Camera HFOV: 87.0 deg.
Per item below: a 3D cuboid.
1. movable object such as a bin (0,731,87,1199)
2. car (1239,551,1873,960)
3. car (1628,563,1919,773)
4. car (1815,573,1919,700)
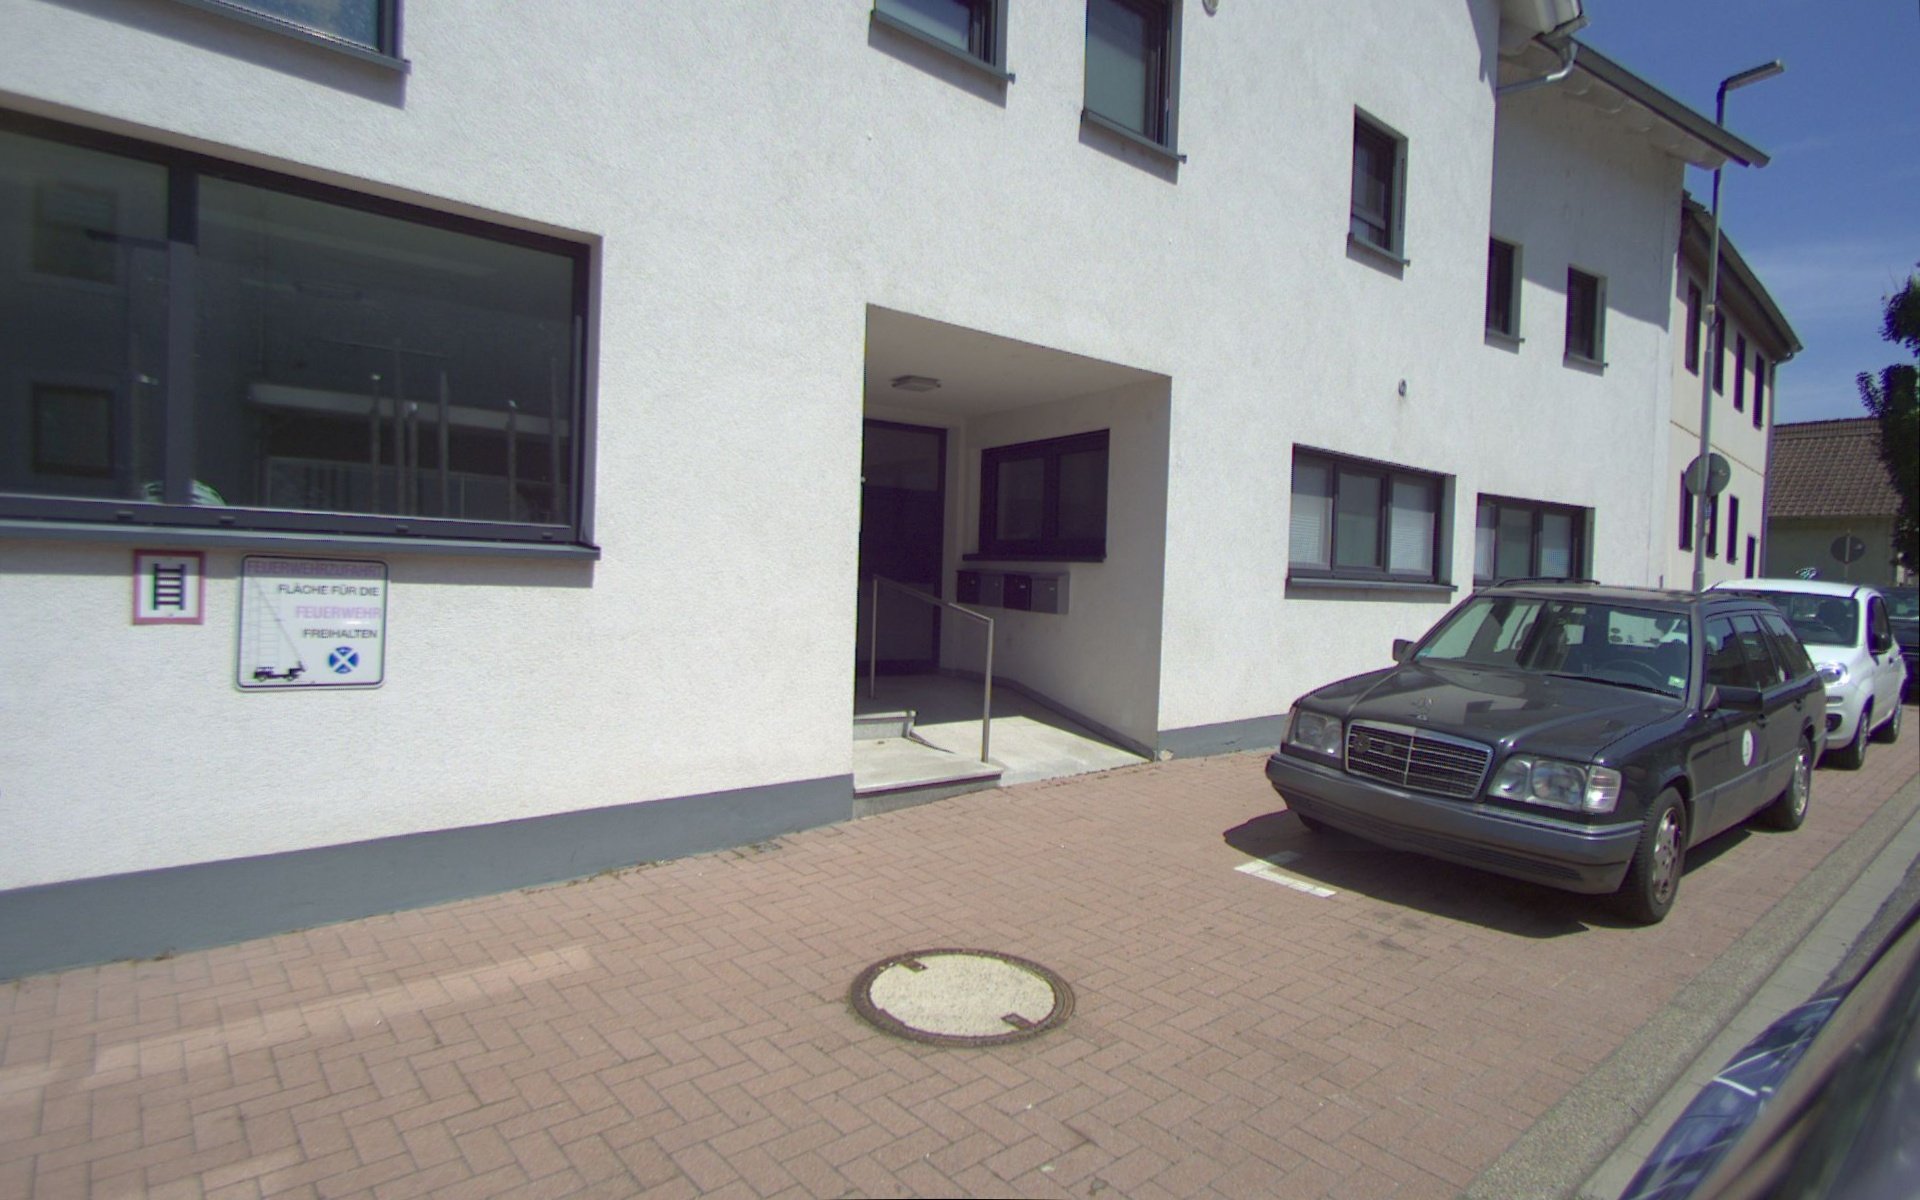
[{"bbox_3d":[-1.823,0.782,1.362,0.818,1.073,0.658,1,3,-24],"label":"movable object such as a bin"},{"bbox_3d":[3.789,0.559,5.976,4.751,1.464,1.705,0,4,-41],"label":"car"},{"bbox_3d":[7.843,0.508,9.567,3.483,1.540,1.610,0,4,-41],"label":"car"},{"bbox_3d":[14.376,0.536,15.082,4.469,1.633,1.806,1,3,-42],"label":"car"}]
